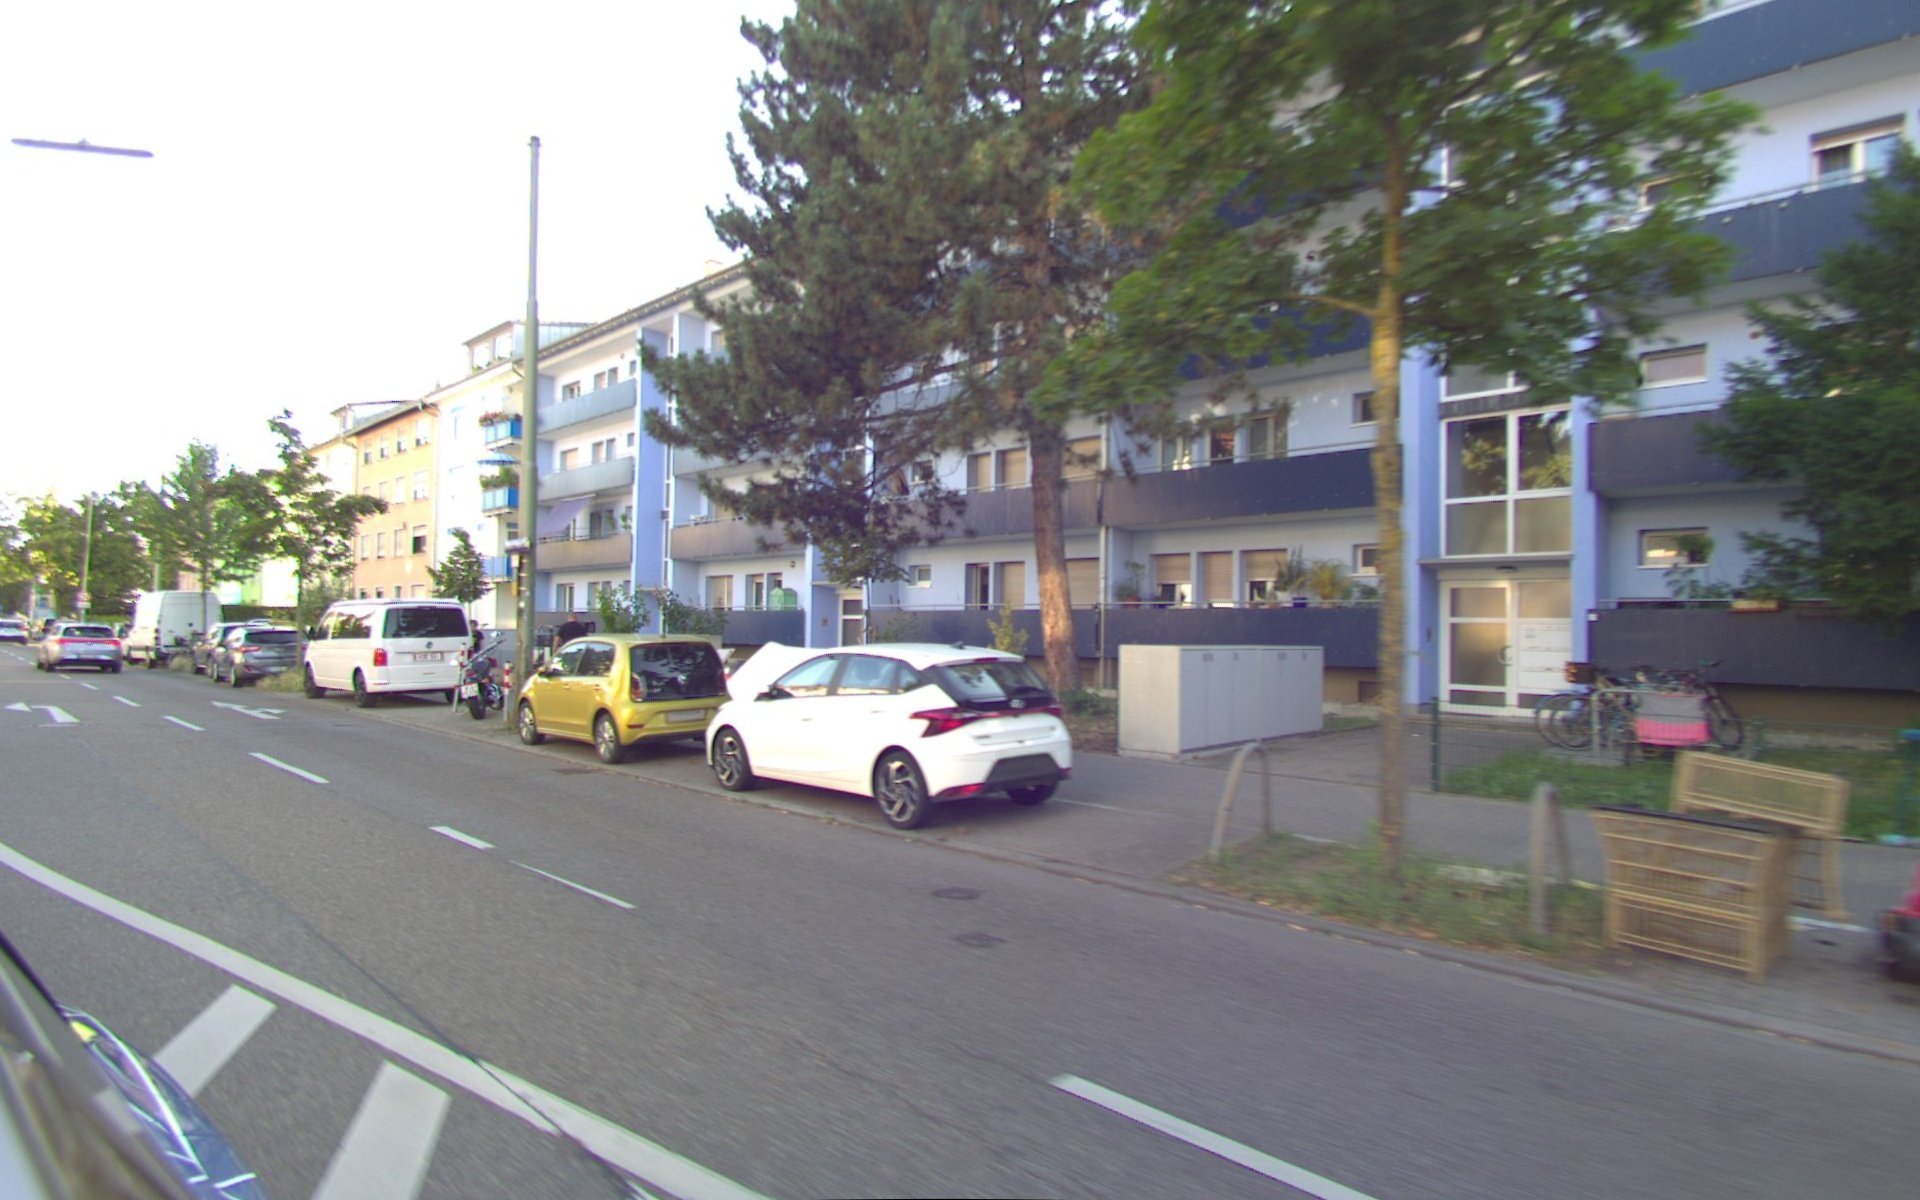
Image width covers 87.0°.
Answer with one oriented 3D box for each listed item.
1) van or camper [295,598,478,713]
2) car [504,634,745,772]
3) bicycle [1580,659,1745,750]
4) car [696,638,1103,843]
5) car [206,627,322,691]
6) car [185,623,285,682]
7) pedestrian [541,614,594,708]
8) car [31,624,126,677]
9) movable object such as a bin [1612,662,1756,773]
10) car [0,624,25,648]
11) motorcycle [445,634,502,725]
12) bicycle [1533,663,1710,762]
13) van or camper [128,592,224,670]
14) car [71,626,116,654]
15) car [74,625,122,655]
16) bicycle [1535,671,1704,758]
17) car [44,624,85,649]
[{"bbox_3d":[-11.573,1.045,20.271,4.864,2.029,1.784,-1,-2,43],"label":"van or camper"},{"bbox_3d":[-4.373,1.193,12.946,1.555,1.480,3.492,1,-2,-44],"label":"car"},{"bbox_3d":[9.272,1.341,13.398,1.745,1.084,0.582,-1,-3,41],"label":"bicycle"},{"bbox_3d":[-0.728,1.109,9.444,1.660,1.454,3.883,1,-2,-44],"label":"car"},{"bbox_3d":[-18.016,1.460,26.122,1.783,1.509,3.959,2,-2,-45],"label":"car"},{"bbox_3d":[-21.458,1.507,29.915,1.783,1.603,3.959,2,-2,-45],"label":"car"},{"bbox_3d":[-7.501,1.144,19.341,0.647,1.750,0.688,-1,-3,44],"label":"pedestrian"},{"bbox_3d":[-26.405,1.488,30.280,3.957,1.493,1.703,-1,-4,43],"label":"car"},{"bbox_3d":[7.844,1.217,10.950,1.061,1.057,1.445,-1,-3,44],"label":"movable object such as a bin"},{"bbox_3d":[-58.378,2.165,61.783,1.783,1.409,3.959,2,-3,-45],"label":"car"},{"bbox_3d":[-8.100,1.275,16.889,0.780,1.412,2.024,2,-2,-25],"label":"motorcycle"},{"bbox_3d":[8.085,1.353,12.455,1.739,1.104,0.528,0,-2,26],"label":"bicycle"},{"bbox_3d":[-27.889,1.101,35.934,5.336,2.562,1.891,-1,-3,44],"label":"van or camper"},{"bbox_3d":[-46.516,2.118,54.306,1.737,1.459,3.790,3,-3,-41],"label":"car"},{"bbox_3d":[-43.802,2.025,51.421,1.737,1.459,3.595,3,-3,-41],"label":"car"},{"bbox_3d":[8.392,1.436,12.956,1.739,0.996,0.499,0,-2,26],"label":"bicycle"},{"bbox_3d":[-59.277,2.389,66.995,1.783,1.609,3.959,2,-2,-45],"label":"car"}]
